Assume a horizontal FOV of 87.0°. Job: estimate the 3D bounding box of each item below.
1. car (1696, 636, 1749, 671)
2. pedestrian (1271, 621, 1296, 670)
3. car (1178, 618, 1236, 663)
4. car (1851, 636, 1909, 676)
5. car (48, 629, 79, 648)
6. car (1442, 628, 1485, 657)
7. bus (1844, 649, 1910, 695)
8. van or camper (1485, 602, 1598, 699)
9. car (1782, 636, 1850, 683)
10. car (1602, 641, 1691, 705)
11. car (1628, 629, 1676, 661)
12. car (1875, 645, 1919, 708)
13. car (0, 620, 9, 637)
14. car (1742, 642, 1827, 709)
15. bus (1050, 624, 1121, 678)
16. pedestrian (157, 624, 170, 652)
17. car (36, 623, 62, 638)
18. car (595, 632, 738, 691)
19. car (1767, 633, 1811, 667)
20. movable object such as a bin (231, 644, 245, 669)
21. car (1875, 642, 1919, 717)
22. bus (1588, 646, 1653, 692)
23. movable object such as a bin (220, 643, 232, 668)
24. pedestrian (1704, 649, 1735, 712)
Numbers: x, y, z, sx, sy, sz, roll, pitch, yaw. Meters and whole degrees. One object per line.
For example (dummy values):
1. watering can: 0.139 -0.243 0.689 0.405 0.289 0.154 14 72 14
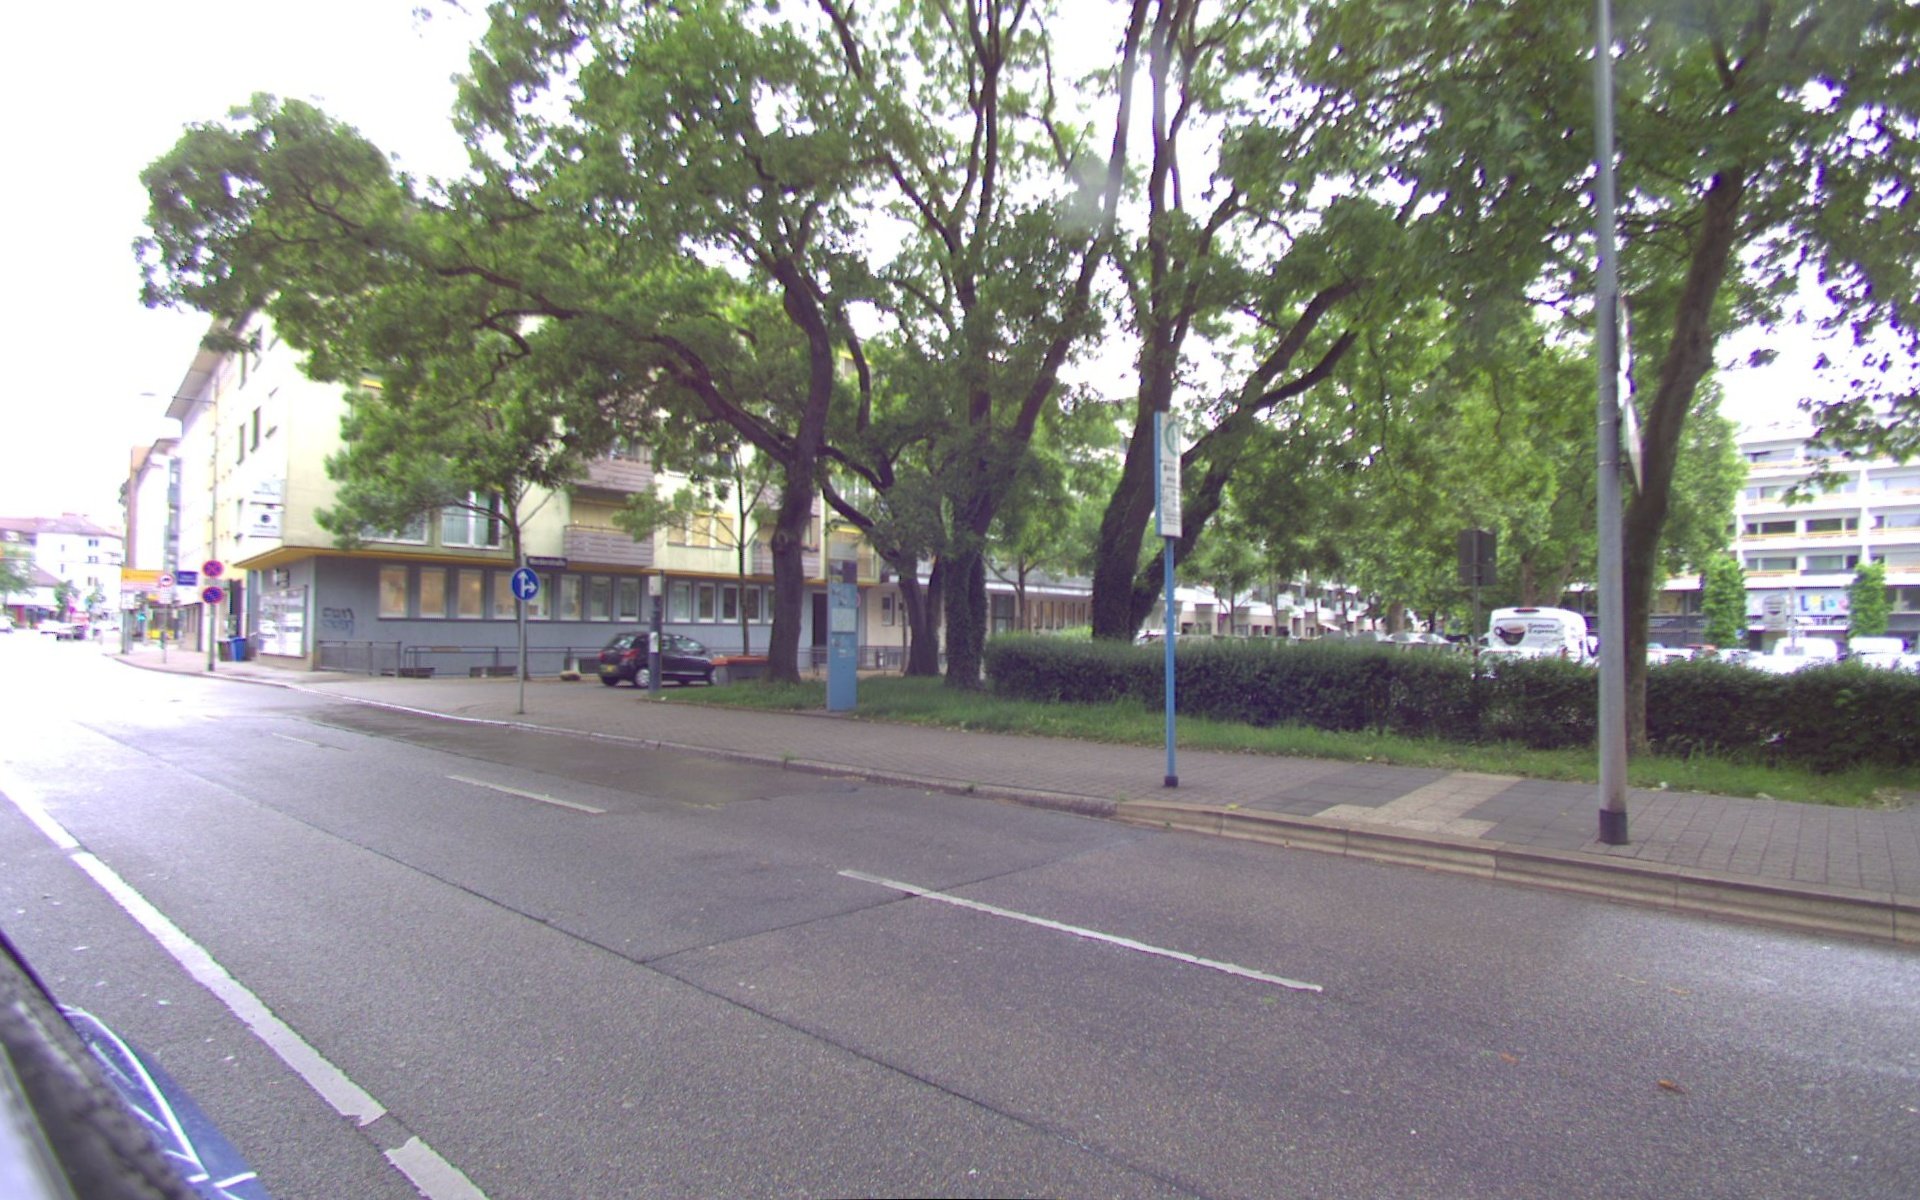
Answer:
1. car: 35.719 2.471 47.363 1.837 1.435 3.780 -1 0 39
2. pedestrian: 8.116 1.136 25.398 0.484 1.222 0.433 -1 0 34
3. car: 11.720 1.952 47.891 1.988 2.029 3.967 0 -3 24
4. car: 40.310 2.410 44.412 1.639 1.536 3.161 -1 0 38
5. car: -82.378 3.553 92.999 4.002 1.730 1.863 -2 -4 45
6. car: 27.185 2.277 54.586 1.428 1.439 2.926 -2 -1 40
7. bus: 33.155 2.562 36.657 1.604 1.551 3.385 -1 -3 40
8. van or camper: 16.844 1.436 29.211 2.097 2.556 4.367 -1 -3 40
9. car: 28.172 1.953 33.352 1.604 1.439 3.275 -1 -3 40
10. car: 16.730 1.740 24.621 1.391 1.446 3.227 -2 -4 41
11. car: 33.020 2.146 48.254 1.604 1.439 3.275 -1 -3 40
12. car: 23.414 1.858 24.806 1.391 1.446 3.227 -2 -4 41
13. car: -104.723 3.094 109.827 4.002 1.866 1.971 -2 -4 45
14. car: 19.235 1.725 23.565 1.391 1.446 3.227 -2 -4 41
15. bus: 4.835 1.958 38.688 1.703 1.939 3.697 0 -3 24
16. pedestrian: -54.064 2.566 68.703 0.586 1.858 0.565 3 -4 -42
17. car: -102.681 3.444 114.062 4.002 1.670 1.842 -2 -4 45
18. car: -8.028 1.690 27.893 1.570 1.500 3.521 -1 -4 38
19. car: 41.984 2.486 51.301 1.639 1.536 3.161 -1 0 38
20. movable object such as a bin: -29.853 2.341 41.857 0.409 1.037 0.354 3 -4 -42
21. car: 19.926 1.627 20.944 1.391 1.446 3.227 -2 -4 41
22. bus: 24.154 2.482 36.973 1.604 1.551 3.385 -1 -3 40
23. movable object such as a bin: -30.211 2.274 41.640 0.333 1.037 0.354 3 -4 -42
24. pedestrian: 15.187 1.600 20.241 0.465 1.222 0.433 -1 0 34
